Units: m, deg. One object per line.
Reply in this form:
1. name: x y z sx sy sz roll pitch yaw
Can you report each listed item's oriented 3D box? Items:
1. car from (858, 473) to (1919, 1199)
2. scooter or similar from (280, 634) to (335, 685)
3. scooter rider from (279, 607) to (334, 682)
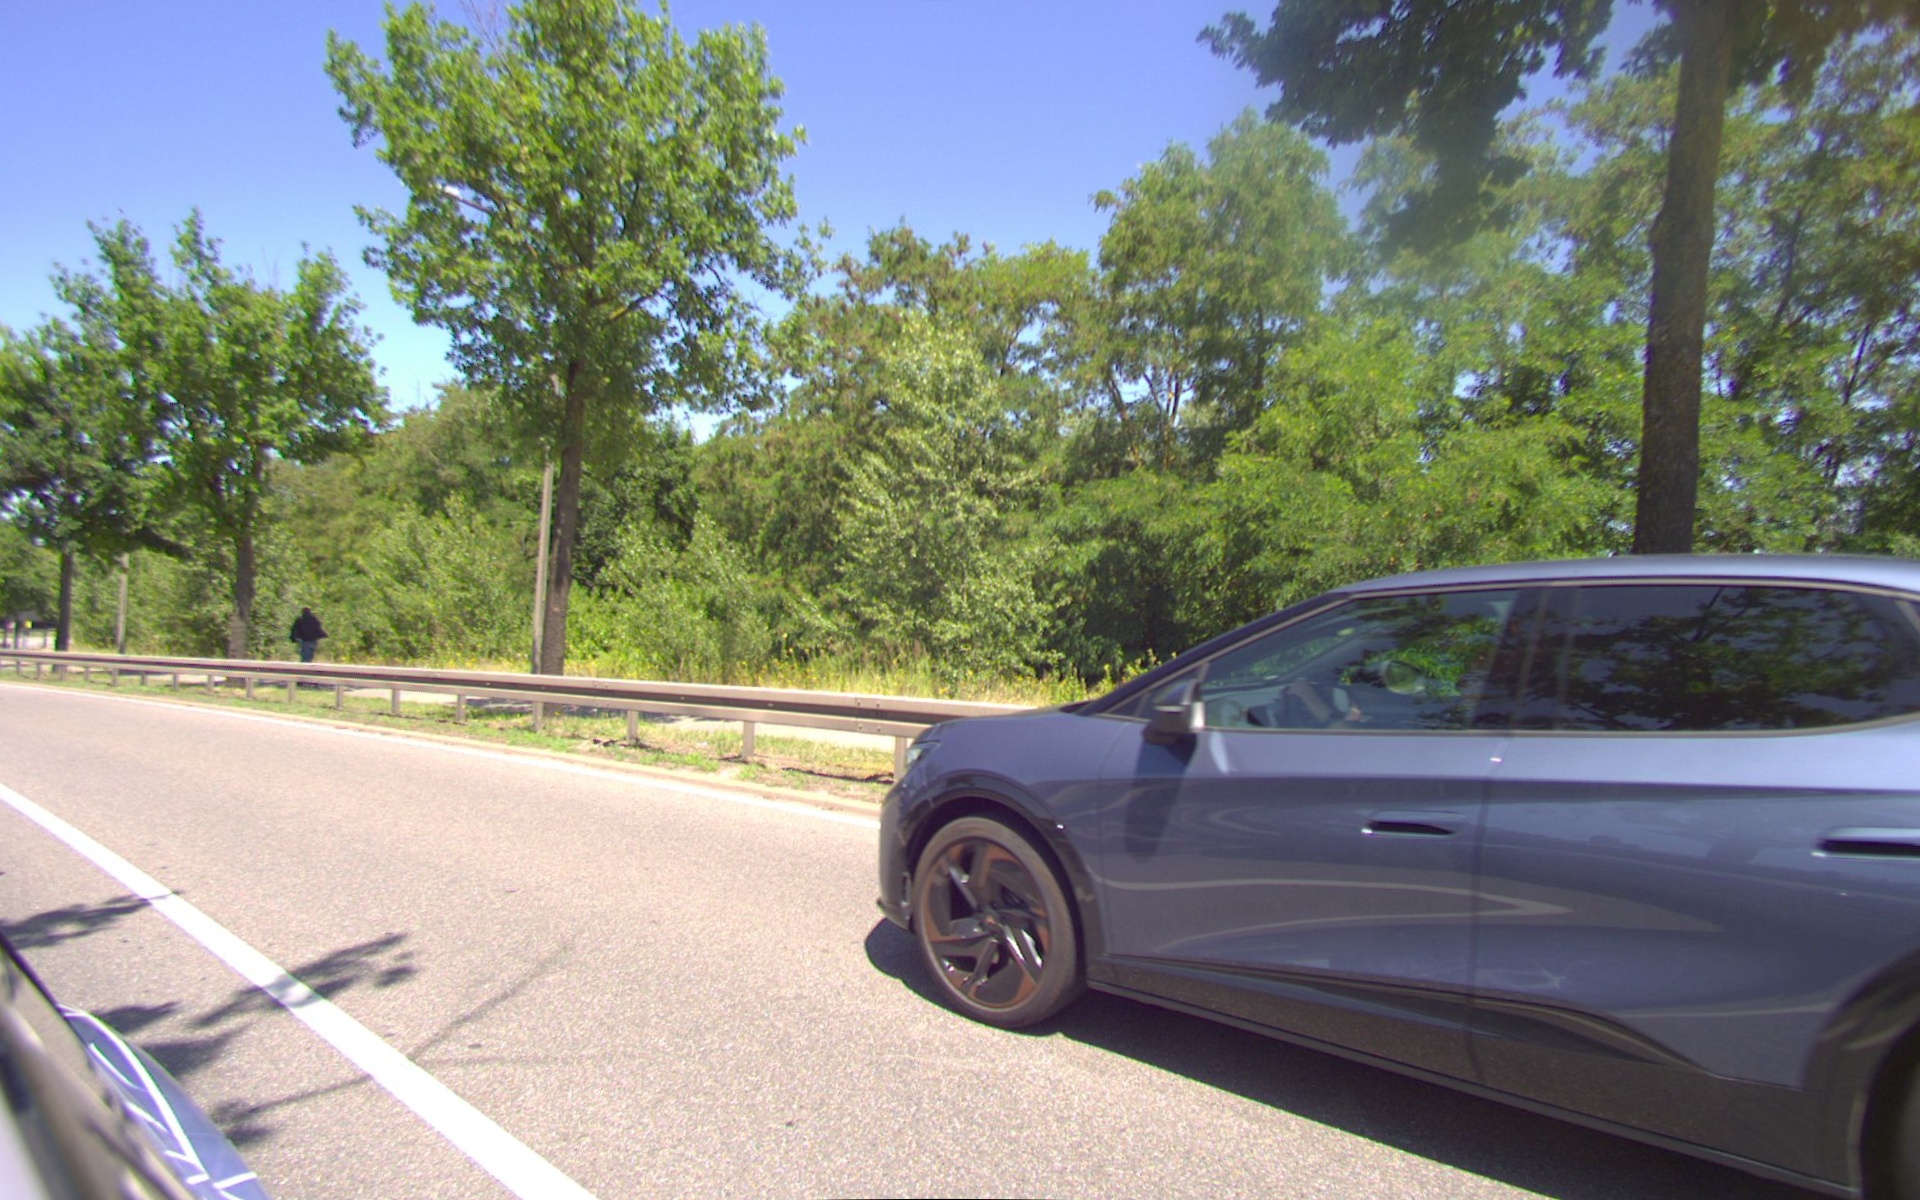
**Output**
1. car: 1.860 0.587 3.092 4.392 1.615 1.849 -2 -1 42
2. scooter or similar: -14.980 1.348 23.228 1.094 1.099 0.769 -1 -1 39
3. scooter rider: -14.987 1.005 23.218 1.120 1.670 0.769 -1 -1 40
